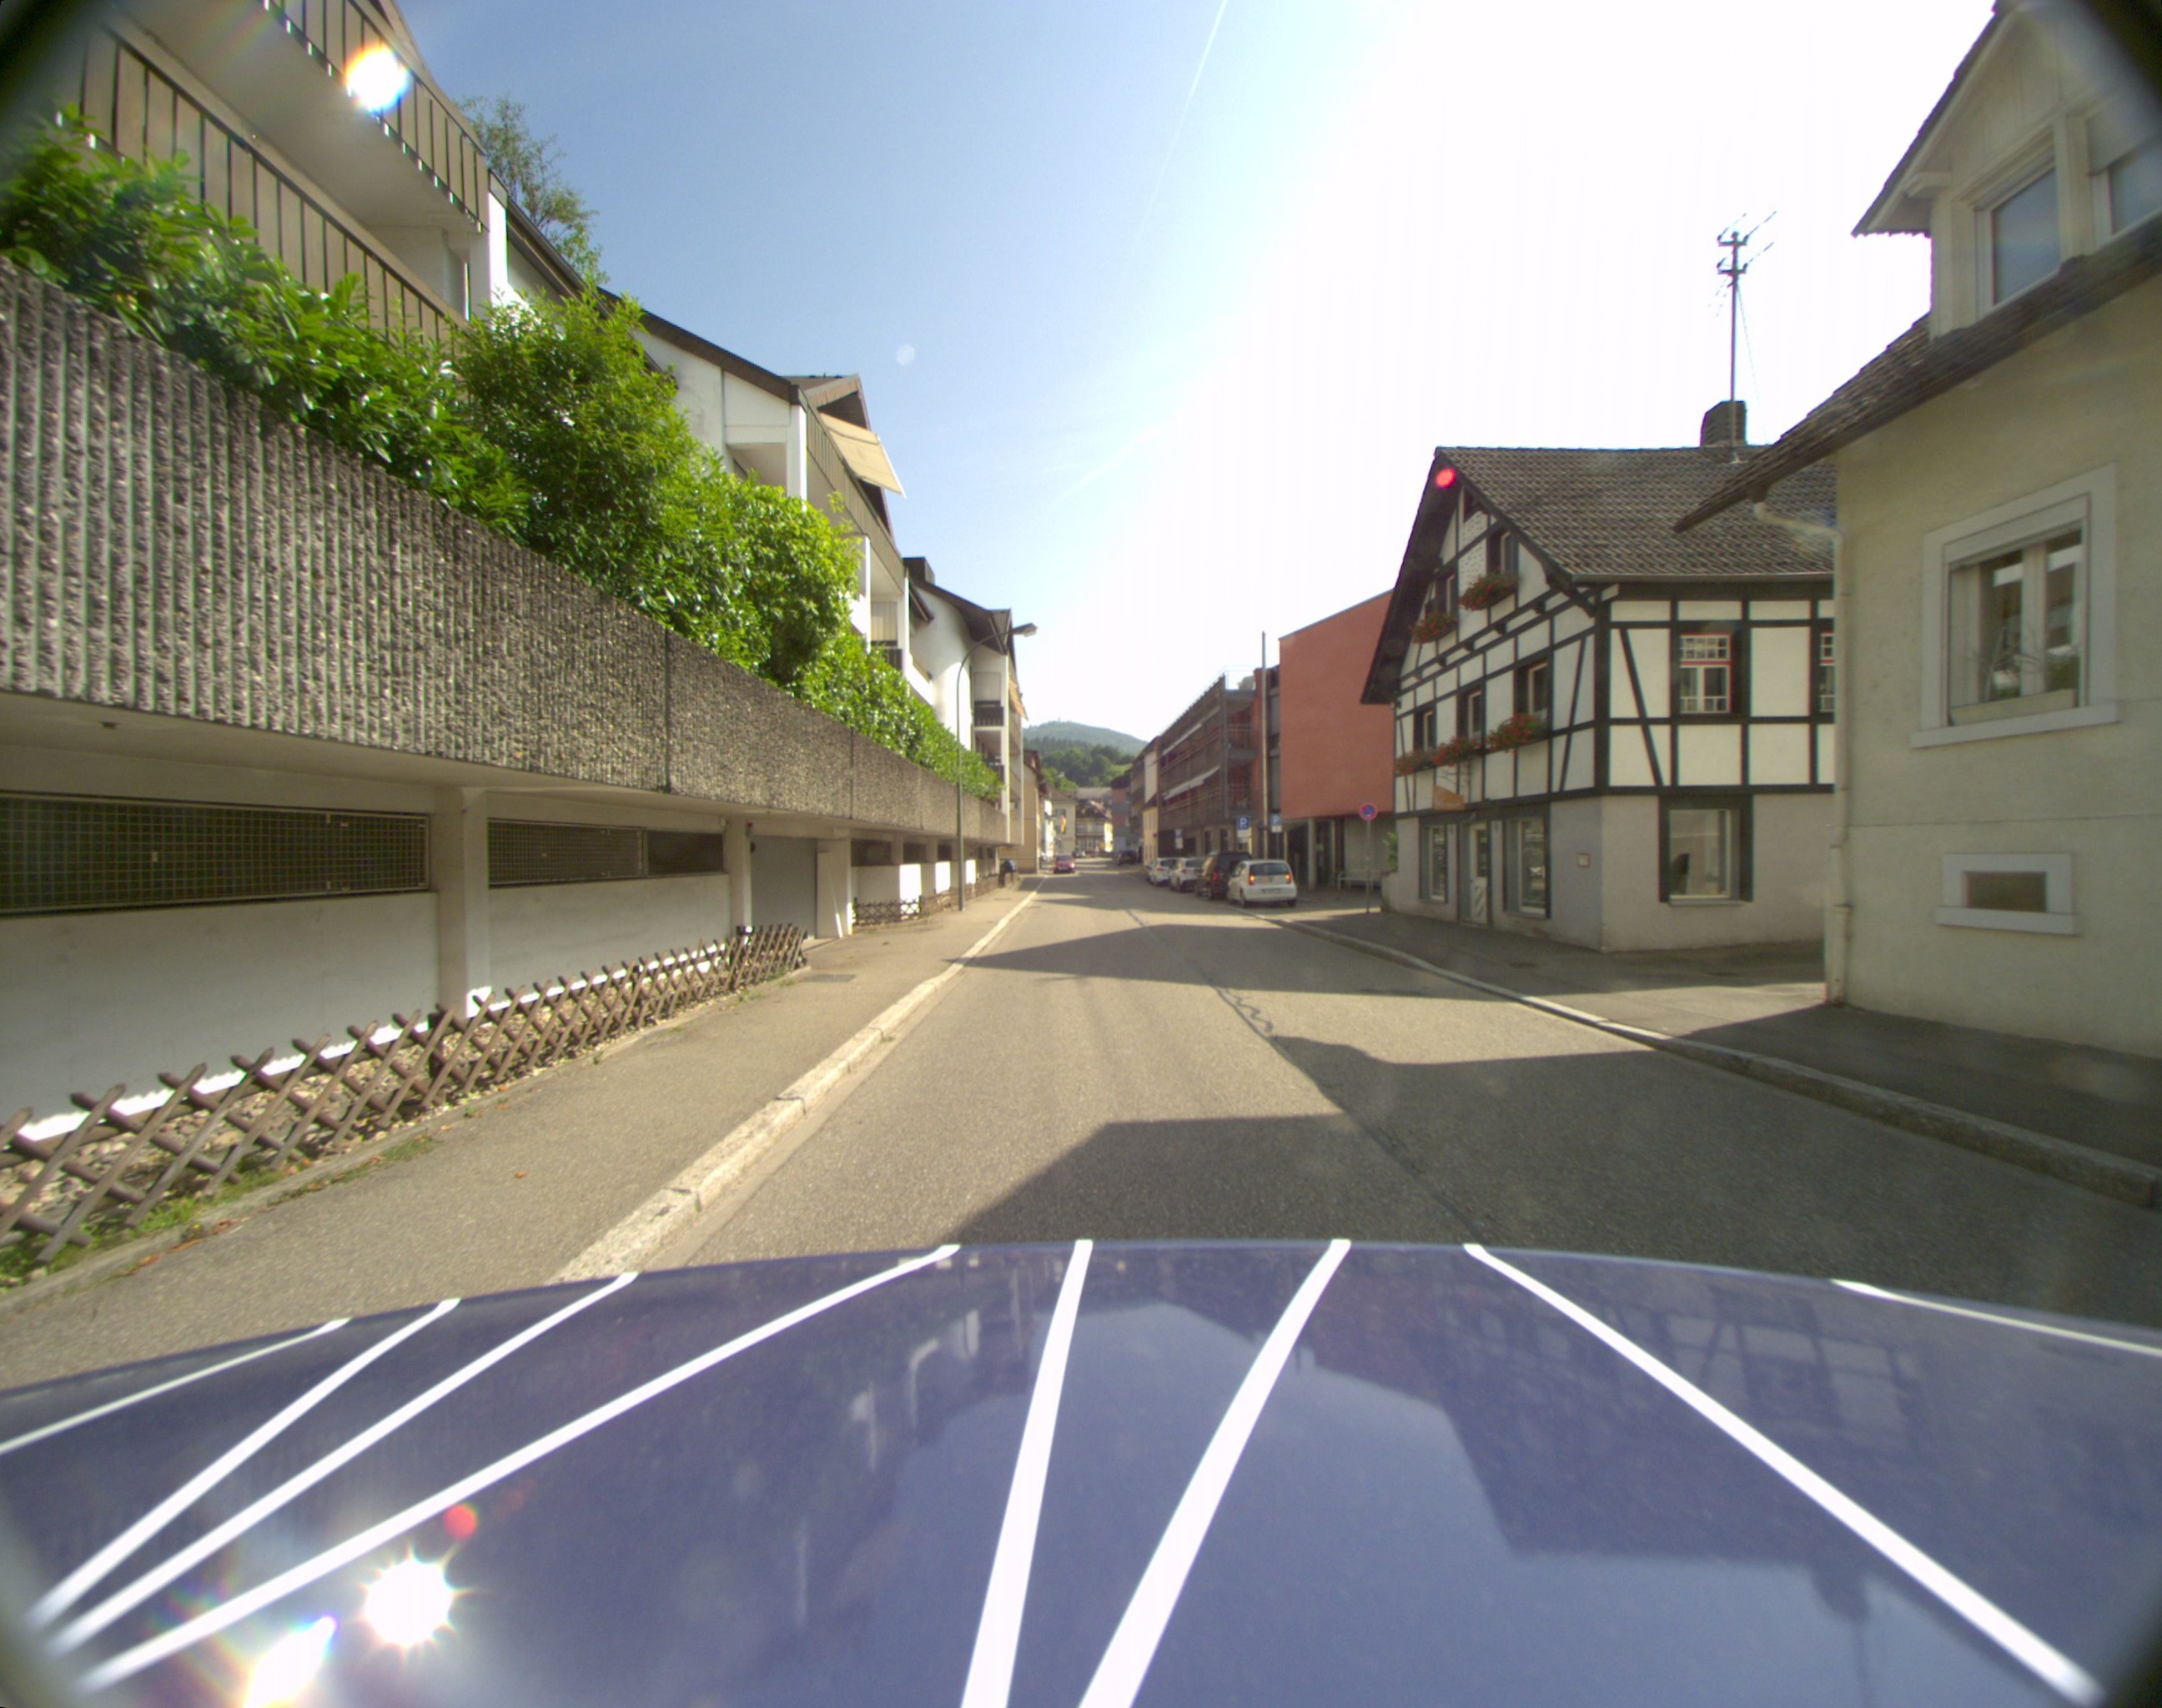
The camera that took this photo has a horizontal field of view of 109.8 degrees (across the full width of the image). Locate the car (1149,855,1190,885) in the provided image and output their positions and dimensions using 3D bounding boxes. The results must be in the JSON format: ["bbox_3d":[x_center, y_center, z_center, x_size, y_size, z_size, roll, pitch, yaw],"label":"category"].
[{"bbox_3d":[4.824,0.865,42.058,1.678,1.546,3.764,-1,0,-2],"label":"car"}]

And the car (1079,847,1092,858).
[{"bbox_3d":[0.843,-0.225,142.151,1.999,2.002,3.998,-2,1,-3],"label":"car"}]

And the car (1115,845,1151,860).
[{"bbox_3d":[6.260,-0.178,92.216,4.000,1.673,1.834,0,-1,-9],"label":"car"}]

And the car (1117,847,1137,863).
[{"bbox_3d":[5.002,0.079,83.737,1.787,1.566,3.888,-3,0,-1],"label":"car"}]

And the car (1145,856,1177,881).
[{"bbox_3d":[4.921,0.867,47.043,1.553,1.408,3.593,-2,1,0],"label":"car"}]

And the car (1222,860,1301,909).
[{"bbox_3d":[5.746,0.930,24.517,1.670,1.423,3.569,-2,-1,0],"label":"car"}]

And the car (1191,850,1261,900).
[{"bbox_3d":[5.575,0.752,29.665,1.725,1.786,4.268,-1,0,-3],"label":"car"}]

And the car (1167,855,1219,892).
[{"bbox_3d":[5.171,0.873,35.516,1.679,1.580,3.948,-1,0,-2],"label":"car"}]

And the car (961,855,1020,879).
[{"bbox_3d":[-6.108,0.883,51.709,3.838,1.470,1.700,-2,0,-3],"label":"car"}]

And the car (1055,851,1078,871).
[{"bbox_3d":[-1.239,0.556,62.840,1.822,1.652,3.999,0,0,-2],"label":"car"}]
